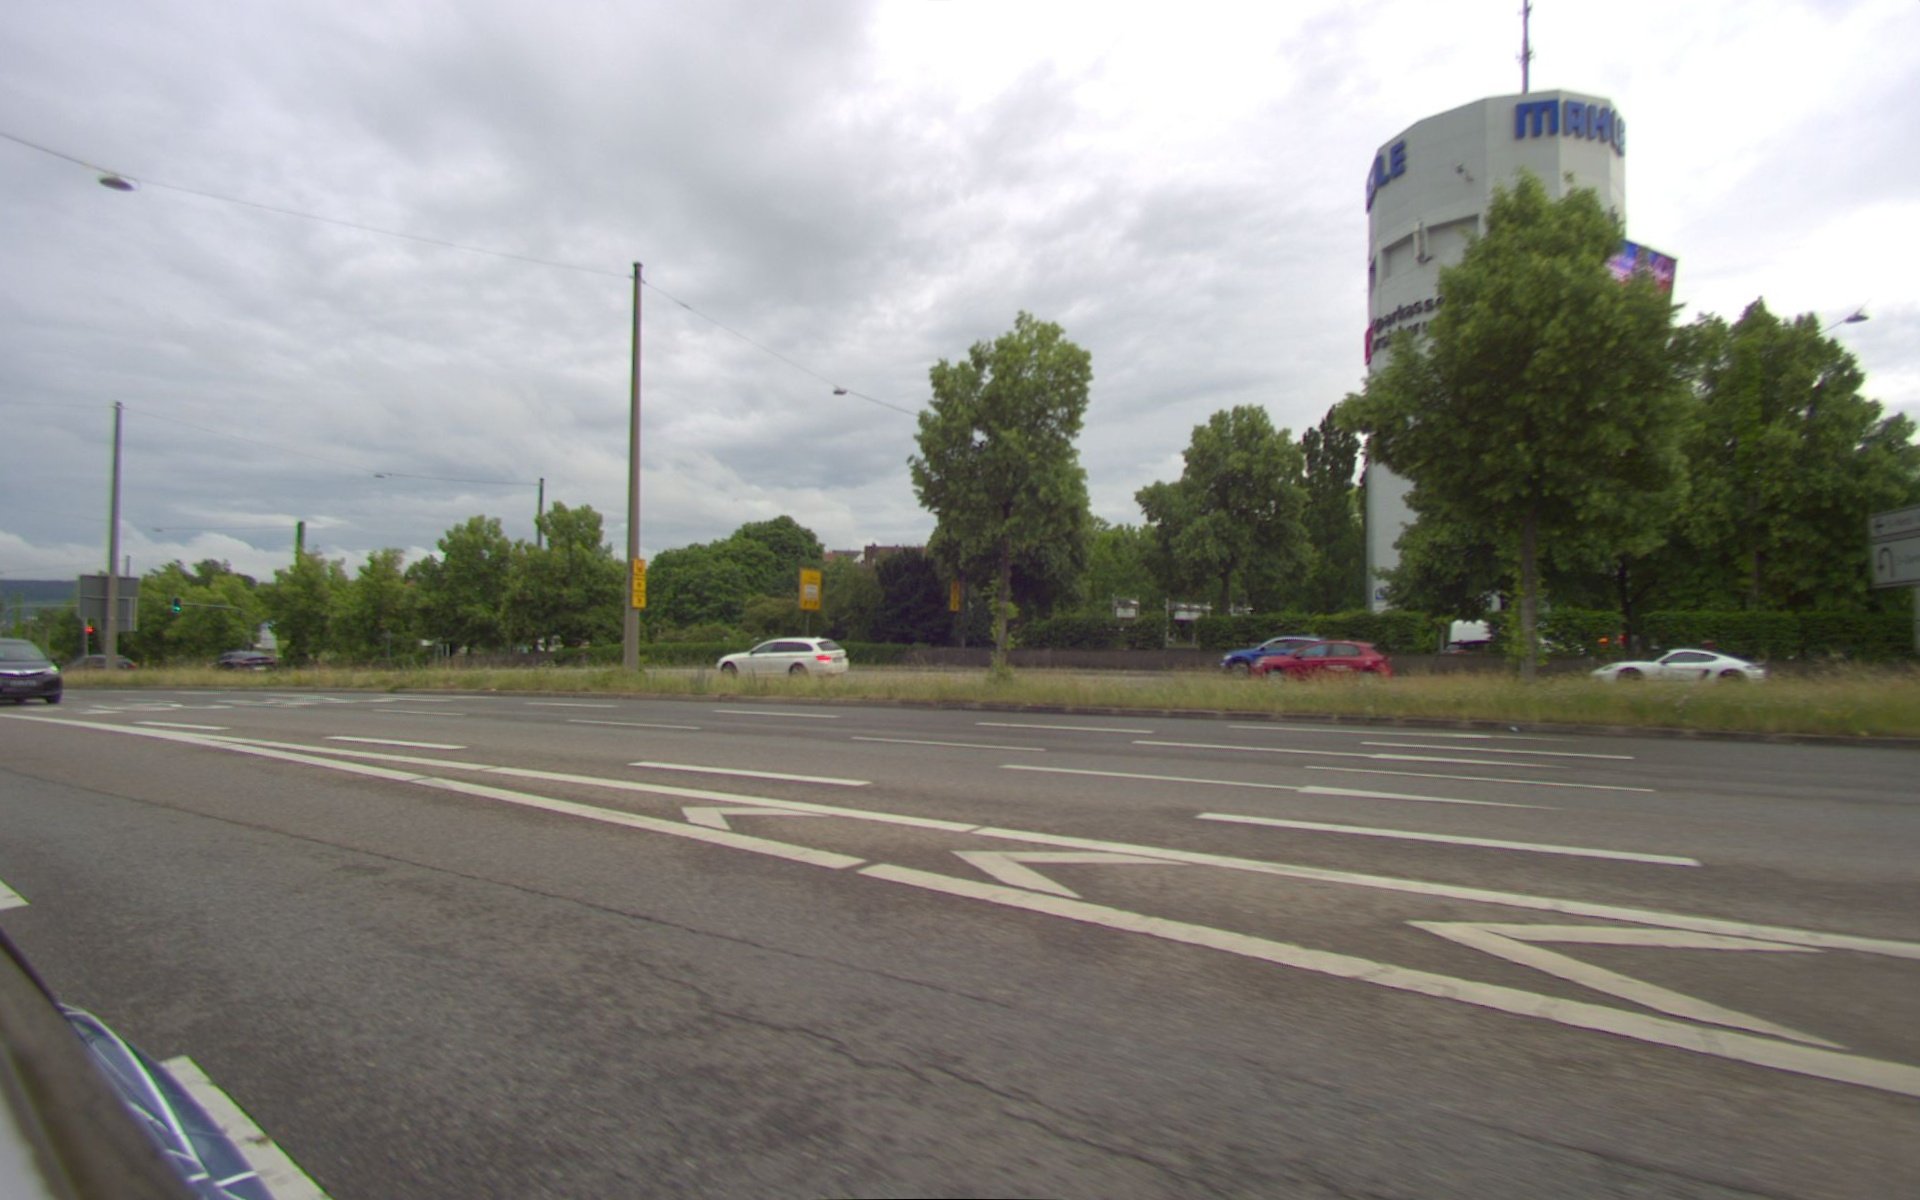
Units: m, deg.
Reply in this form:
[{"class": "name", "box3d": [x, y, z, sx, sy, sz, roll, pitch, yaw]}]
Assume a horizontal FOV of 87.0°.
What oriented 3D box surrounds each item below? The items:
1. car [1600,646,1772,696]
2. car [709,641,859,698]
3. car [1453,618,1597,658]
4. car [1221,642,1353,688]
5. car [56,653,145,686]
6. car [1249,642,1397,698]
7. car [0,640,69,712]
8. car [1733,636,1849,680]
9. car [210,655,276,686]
[{"class": "car", "box3d": [21.643, 2.109, 30.369, 3.964, 1.402, 1.649, -2, -3, 30]}, {"class": "car", "box3d": [-6.051, 2.353, 34.772, 4.844, 1.784, 1.983, -1, -1, 26]}, {"class": "car", "box3d": [32.134, 2.137, 57.872, 6.956, 2.147, 2.371, -1, -1, 24]}, {"class": "car", "box3d": [11.052, 2.177, 34.205, 3.962, 1.453, 1.865, -2, -3, 28]}, {"class": "car", "box3d": [-43.117, 3.498, 50.762, 3.977, 1.519, 1.879, -4, -5, 25]}, {"class": "car", "box3d": [10.735, 2.037, 29.934, 3.975, 1.543, 1.899, -2, -2, 24]}, {"class": "car", "box3d": [-23.058, 1.887, 24.114, 4.033, 1.577, 1.781, -5, -2, 34]}, {"class": "car", "box3d": [40.442, 2.829, 49.412, 3.984, 2.029, 1.979, -3, -3, 30]}, {"class": "car", "box3d": [-37.126, 3.670, 52.381, 3.666, 1.371, 1.581, -5, -2, 34]}]
